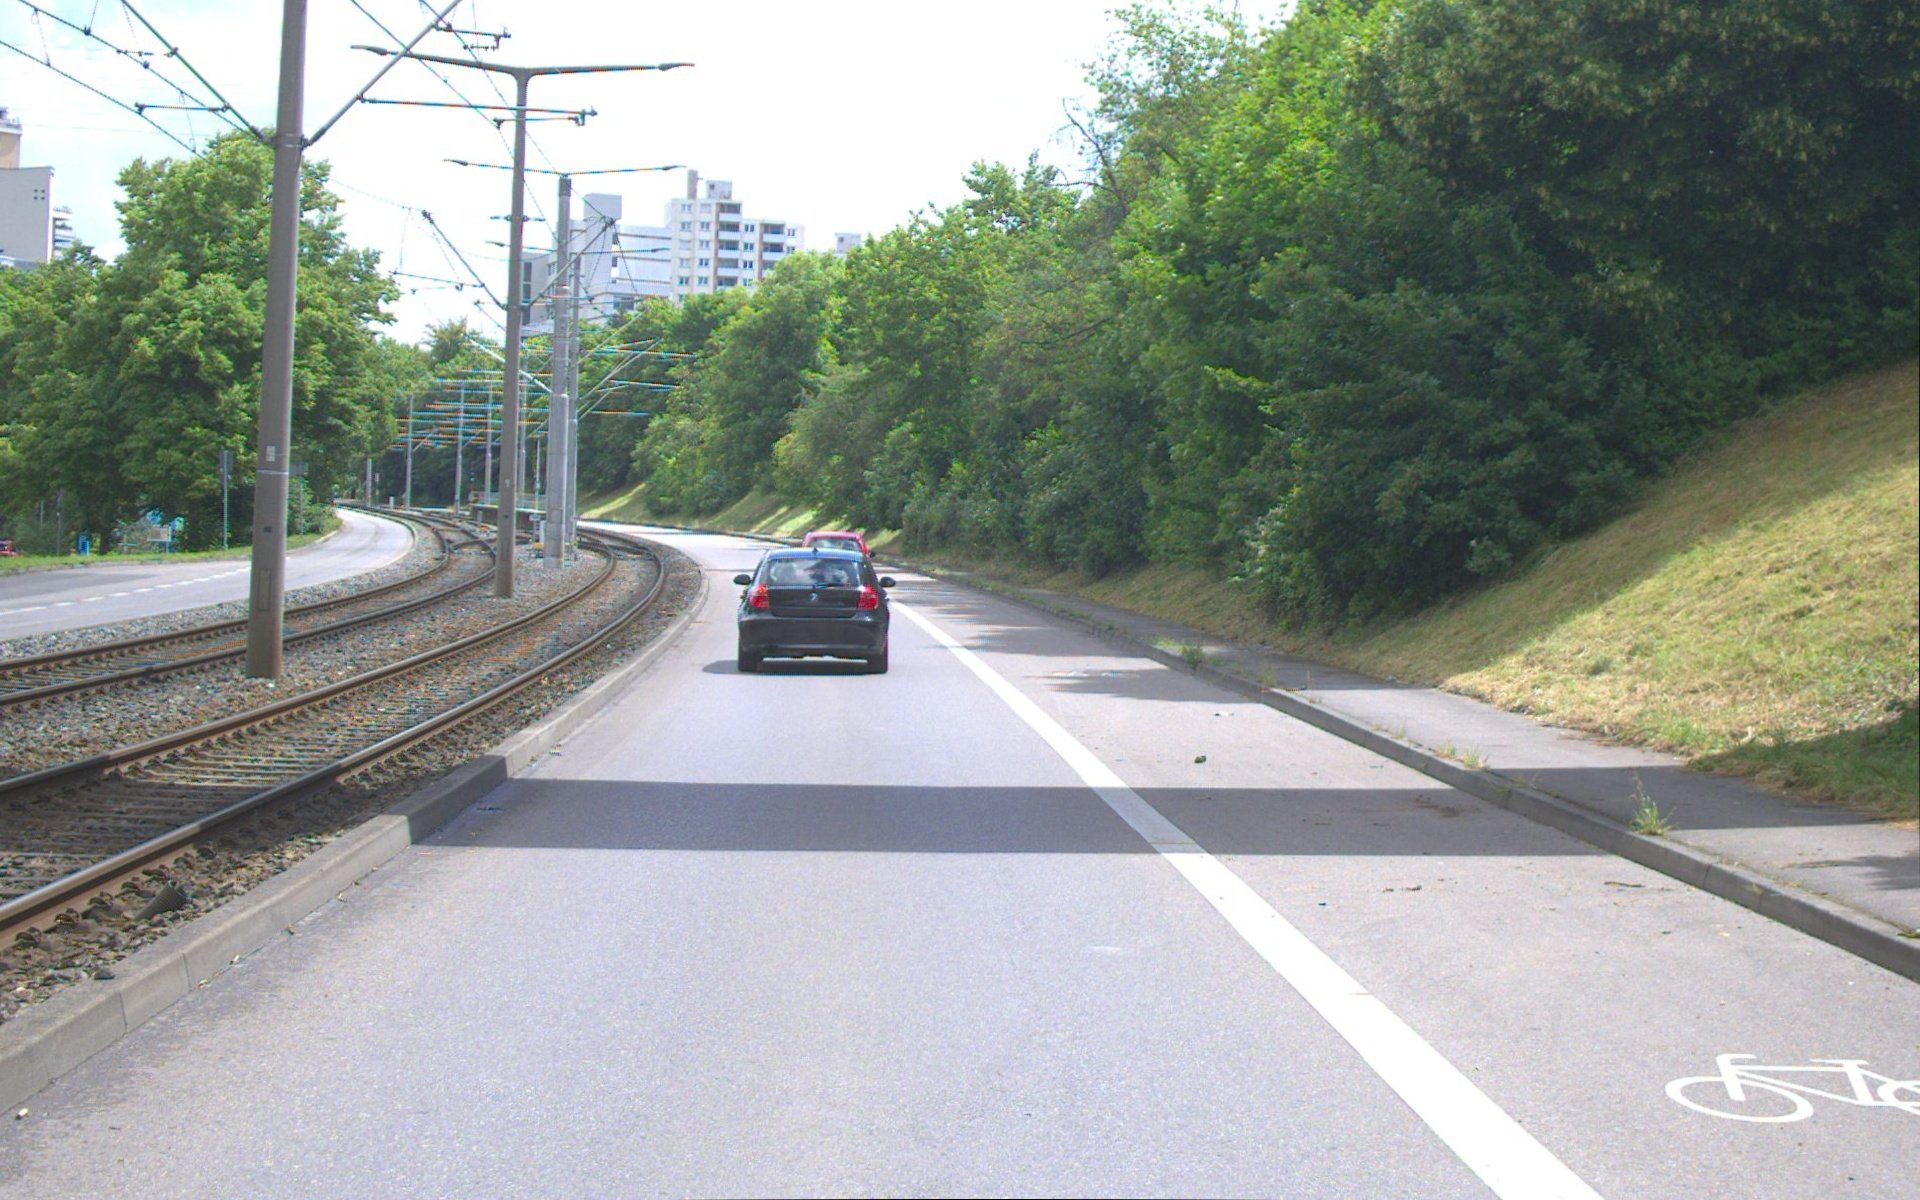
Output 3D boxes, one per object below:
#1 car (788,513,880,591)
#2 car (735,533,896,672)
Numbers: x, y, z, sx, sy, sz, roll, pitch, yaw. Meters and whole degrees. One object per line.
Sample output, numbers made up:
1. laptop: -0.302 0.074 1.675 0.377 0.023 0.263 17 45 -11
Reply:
1. car: -2.572 -0.965 70.756 1.624 1.438 3.421 3 -1 1
2. car: -1.673 0.005 40.224 1.708 1.455 3.961 3 1 -2
